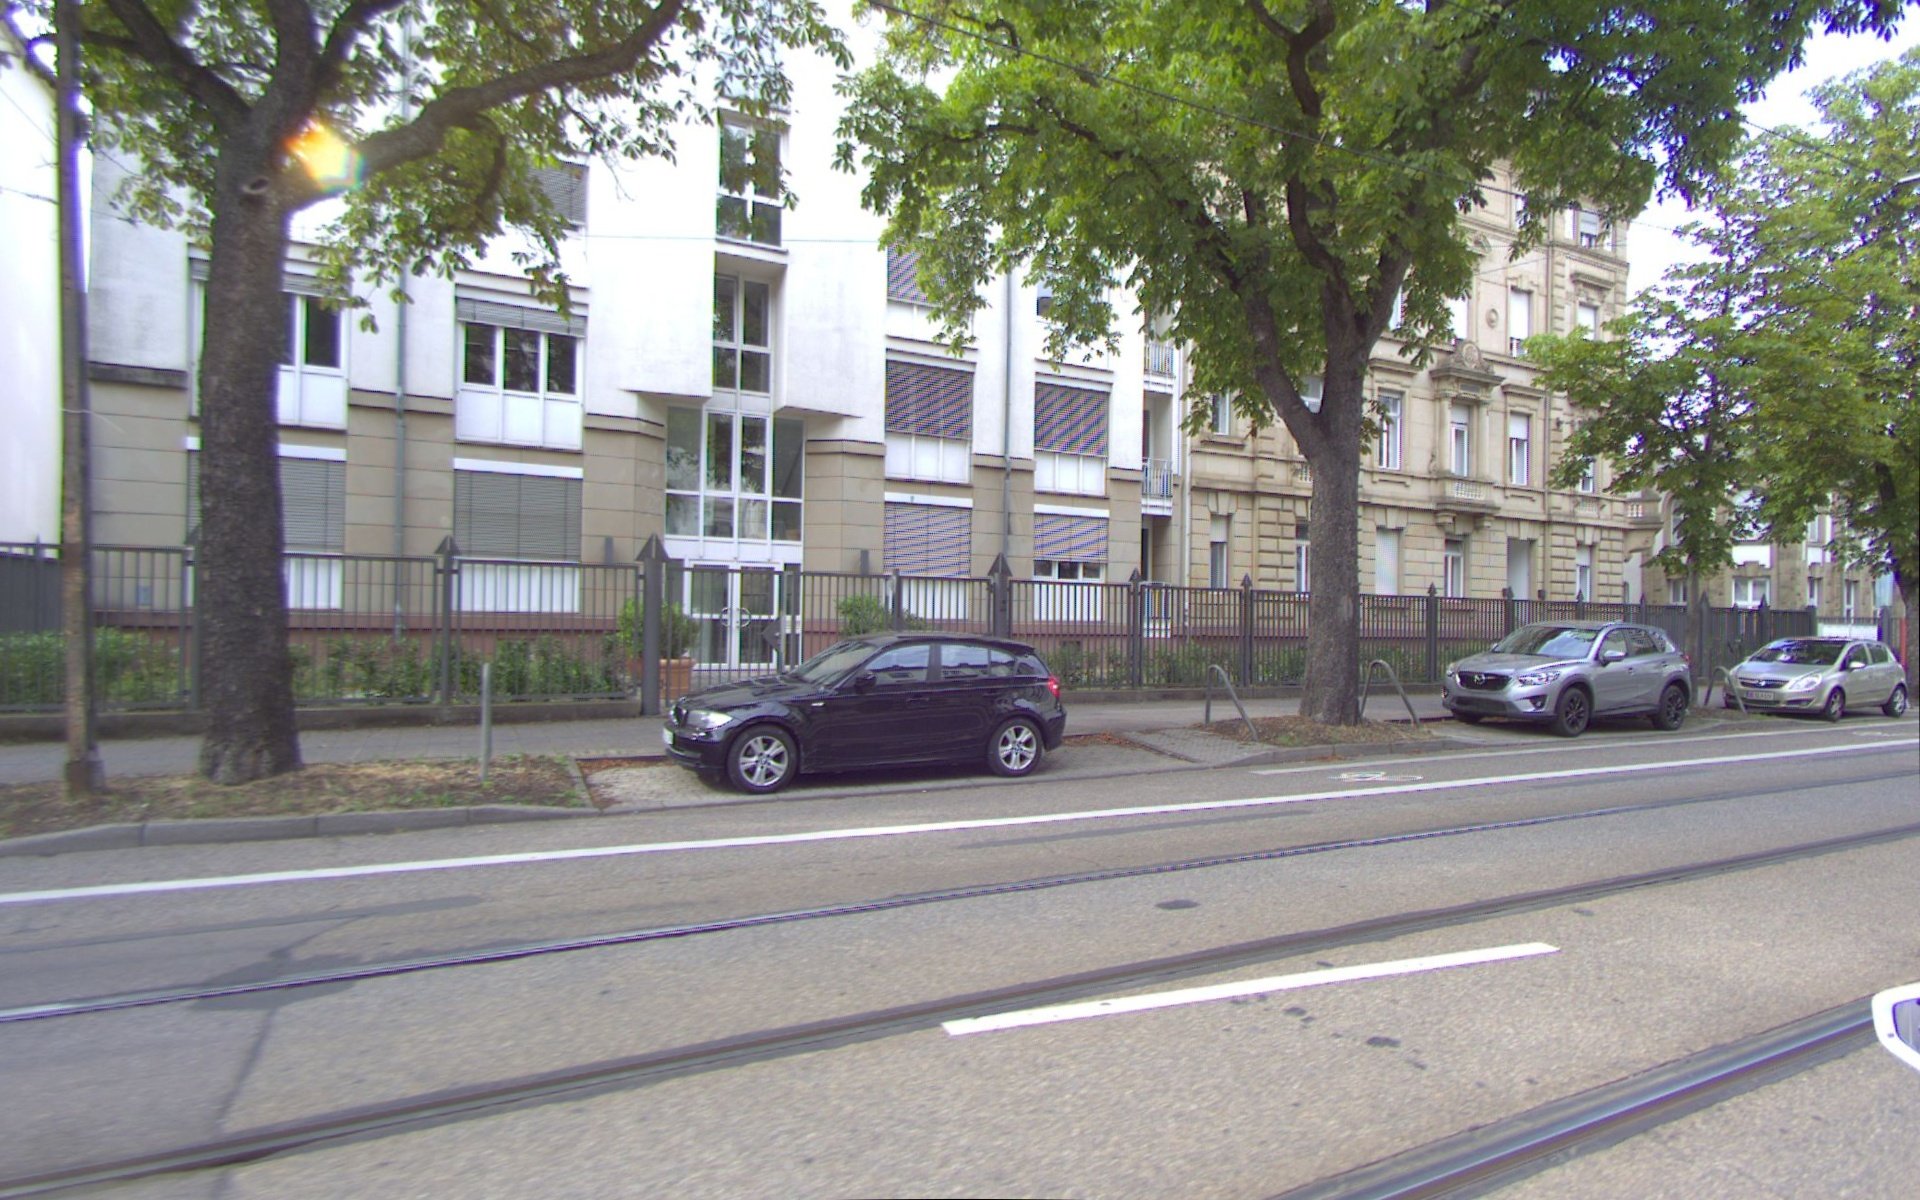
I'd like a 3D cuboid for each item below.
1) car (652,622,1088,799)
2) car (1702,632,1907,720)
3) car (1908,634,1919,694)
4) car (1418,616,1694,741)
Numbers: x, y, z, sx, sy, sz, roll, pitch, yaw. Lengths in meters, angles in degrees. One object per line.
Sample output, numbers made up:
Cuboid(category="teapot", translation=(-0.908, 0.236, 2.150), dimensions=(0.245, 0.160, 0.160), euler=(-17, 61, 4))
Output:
Cuboid(category="car", translation=(-0.900, 1.014, 10.322), dimensions=(4.110, 1.444, 1.714), euler=(1, 1, -26))
Cuboid(category="car", translation=(16.059, 1.379, 19.075), dimensions=(4.028, 1.487, 1.594), euler=(1, 0, -28))
Cuboid(category="car", translation=(25.138, 1.603, 24.524), dimensions=(3.973, 1.443, 1.714), euler=(1, 1, -29))
Cuboid(category="car", translation=(9.318, 1.133, 15.646), dimensions=(4.302, 1.696, 1.703), euler=(1, 0, -28))
